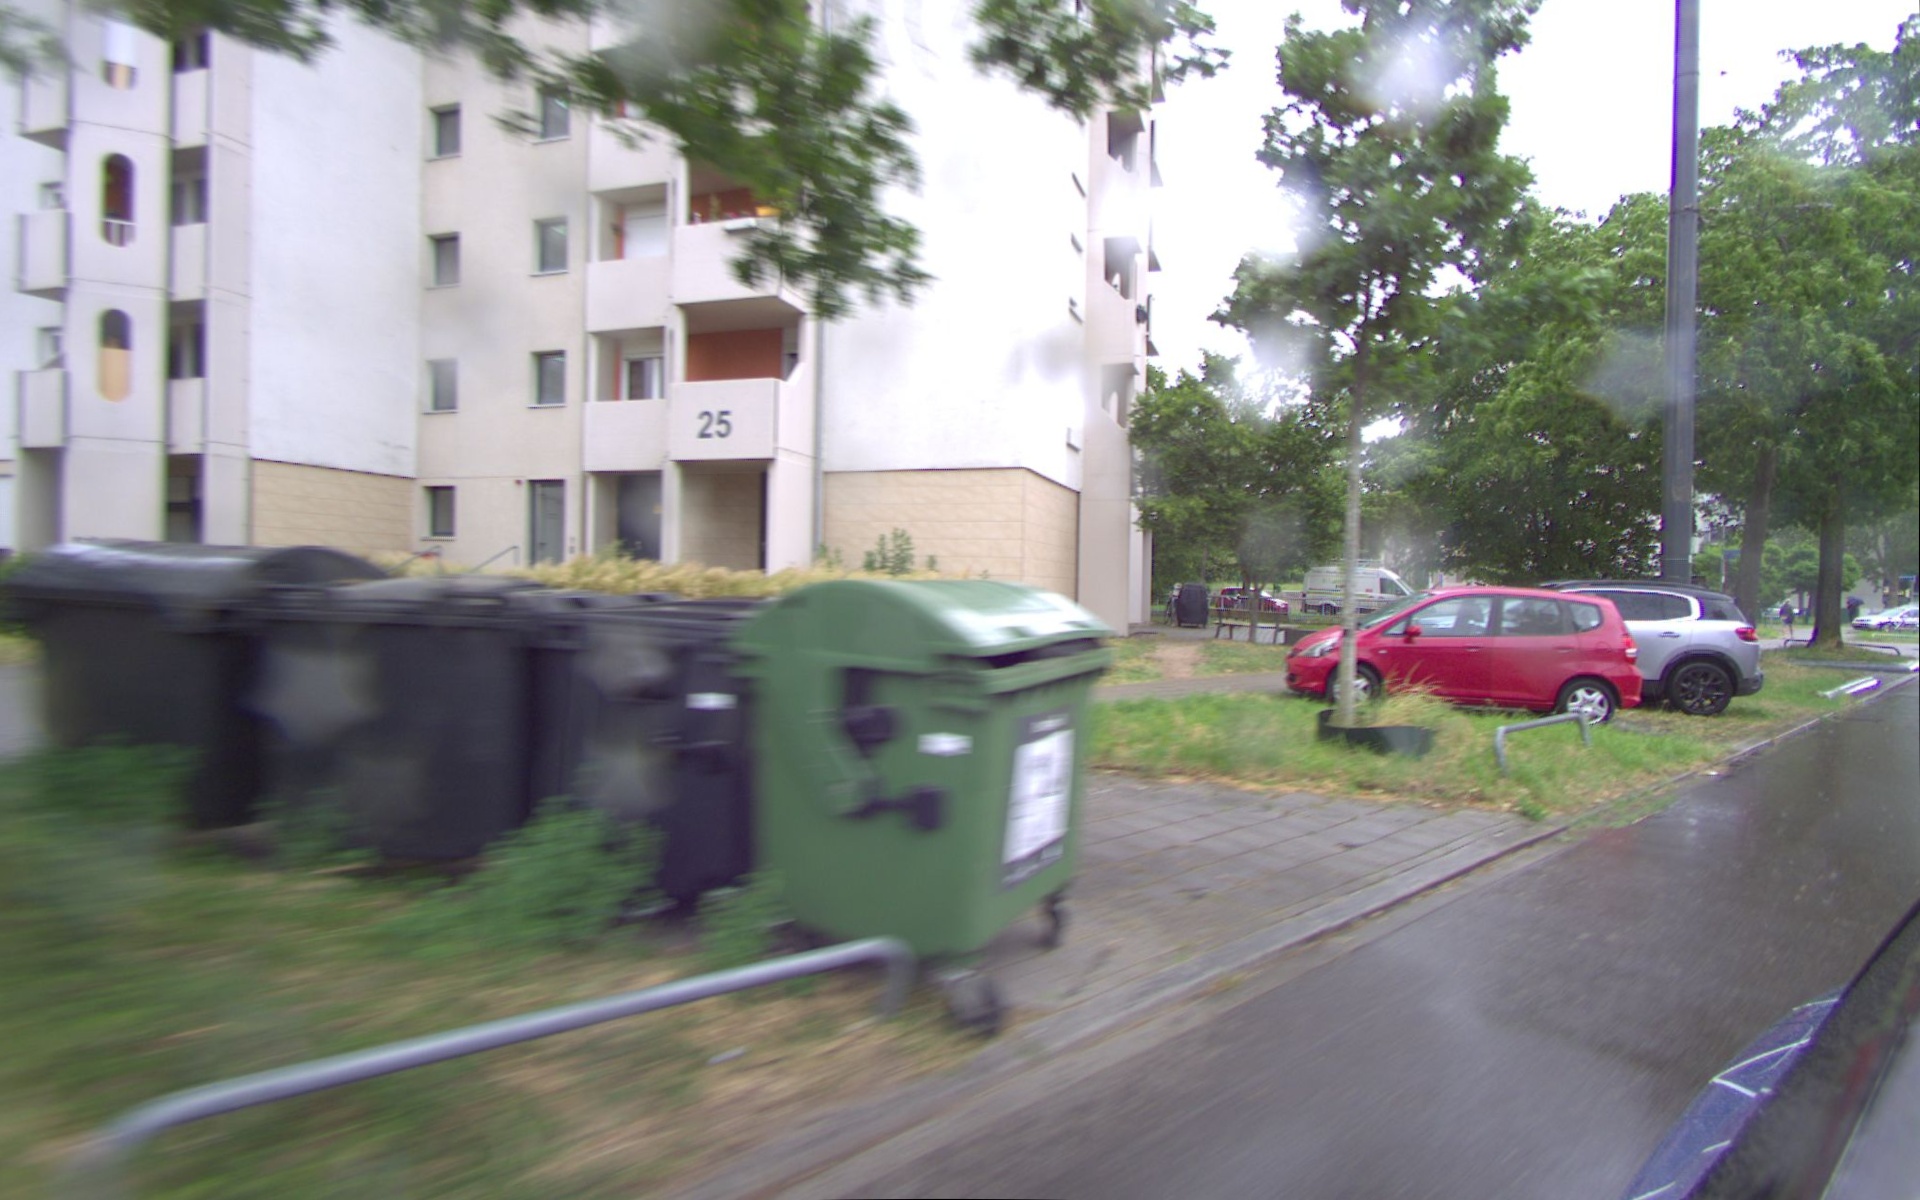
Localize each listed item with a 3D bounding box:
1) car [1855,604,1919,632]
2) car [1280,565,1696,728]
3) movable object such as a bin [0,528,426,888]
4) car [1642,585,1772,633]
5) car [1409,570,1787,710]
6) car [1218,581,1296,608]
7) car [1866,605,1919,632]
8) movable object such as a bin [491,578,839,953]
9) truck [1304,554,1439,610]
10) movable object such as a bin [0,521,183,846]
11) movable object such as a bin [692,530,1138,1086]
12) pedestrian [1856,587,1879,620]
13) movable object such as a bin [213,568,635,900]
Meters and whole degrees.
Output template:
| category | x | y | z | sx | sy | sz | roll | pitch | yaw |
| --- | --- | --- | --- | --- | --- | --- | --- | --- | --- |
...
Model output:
| category | x | y | z | sx | sy | sz | roll | pitch | yaw |
| --- | --- | --- | --- | --- | --- | --- | --- | --- | --- |
| car | 48.341 | 0.886 | 50.971 | 4.423 | 1.344 | 1.987 | 0 | 1 | 20 |
| car | 6.001 | 0.463 | 12.031 | 3.989 | 1.507 | 1.717 | 4 | 1 | 14 |
| movable object such as a bin | -3.499 | 0.426 | 4.734 | 1.344 | 1.440 | 1.184 | 0 | 0 | 8 |
| car | 29.247 | 0.311 | 39.803 | 3.971 | 1.774 | 1.976 | 0 | 1 | 34 |
| car | 8.457 | 0.465 | 13.814 | 3.988 | 1.706 | 1.717 | 1 | 1 | 15 |
| car | 14.632 | -0.270 | 49.852 | 3.393 | 1.298 | 1.583 | 0 | 1 | 32 |
| car | 51.050 | 0.981 | 53.385 | 4.426 | 1.344 | 1.986 | 0 | 1 | 22 |
| movable object such as a bin | -1.167 | 0.580 | 4.282 | 0.981 | 1.329 | 1.183 | 0 | 0 | 12 |
| truck | 19.197 | -0.838 | 47.301 | 5.633 | 2.469 | 2.100 | 0 | 1 | 32 |
| movable object such as a bin | -4.872 | 0.366 | 4.889 | 1.344 | 1.440 | 1.184 | 0 | 0 | 8 |
| movable object such as a bin | -0.089 | 0.581 | 3.754 | 1.152 | 1.582 | 1.362 | 0 | 0 | 27 |
| pedestrian | 57.018 | 0.230 | 63.601 | 1.140 | 2.039 | 1.012 | 0 | 0 | -43 |
| movable object such as a bin | -2.277 | 0.504 | 4.507 | 1.220 | 1.267 | 1.185 | 0 | 0 | 5 |
